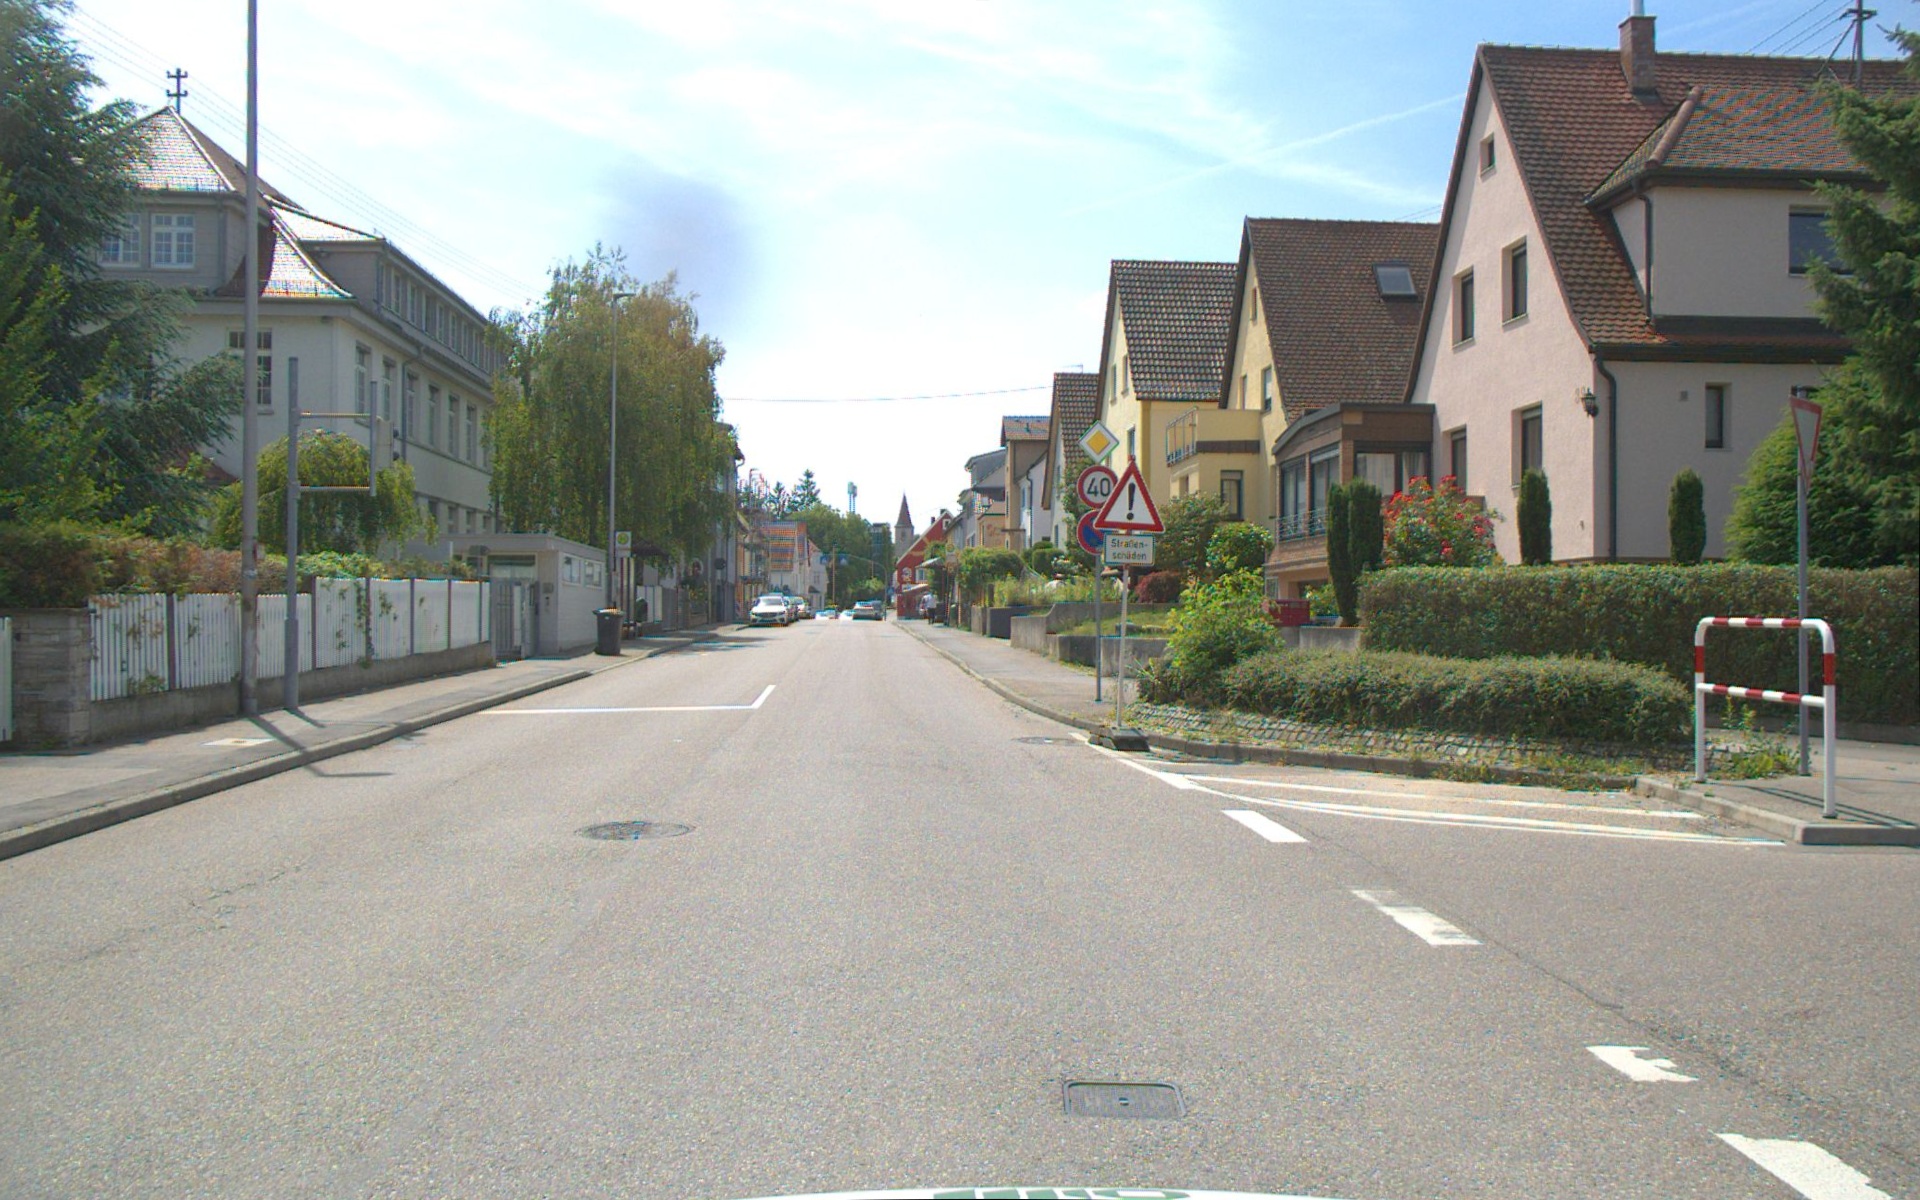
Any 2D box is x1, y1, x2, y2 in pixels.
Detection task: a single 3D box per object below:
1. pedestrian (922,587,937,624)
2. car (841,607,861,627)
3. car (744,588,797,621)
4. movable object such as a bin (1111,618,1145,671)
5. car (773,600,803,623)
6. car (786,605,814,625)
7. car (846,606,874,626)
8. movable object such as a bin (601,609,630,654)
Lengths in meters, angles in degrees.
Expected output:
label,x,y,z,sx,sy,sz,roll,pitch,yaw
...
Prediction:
label,x,y,z,sx,sy,sz,roll,pitch,yaw
pedestrian,-1.492,0.264,81.224,0.633,1.760,0.608,-2,0,-4
car,-11.820,1.822,179.065,1.953,2.049,3.999,0,0,-2
car,-9.369,0.228,82.185,2.067,1.588,4.314,0,0,1
movable object such as a bin,3.704,0.973,36.489,0.572,1.097,0.733,5,0,-4
car,-12.192,0.816,117.656,1.954,1.588,4.310,0,0,-4
car,-12.652,1.167,131.381,1.953,1.588,4.312,0,0,-2
car,-8.039,1.278,132.901,1.955,1.588,4.307,0,0,-7
movable object such as a bin,-8.441,0.773,40.563,0.595,1.064,0.724,1,1,-4
